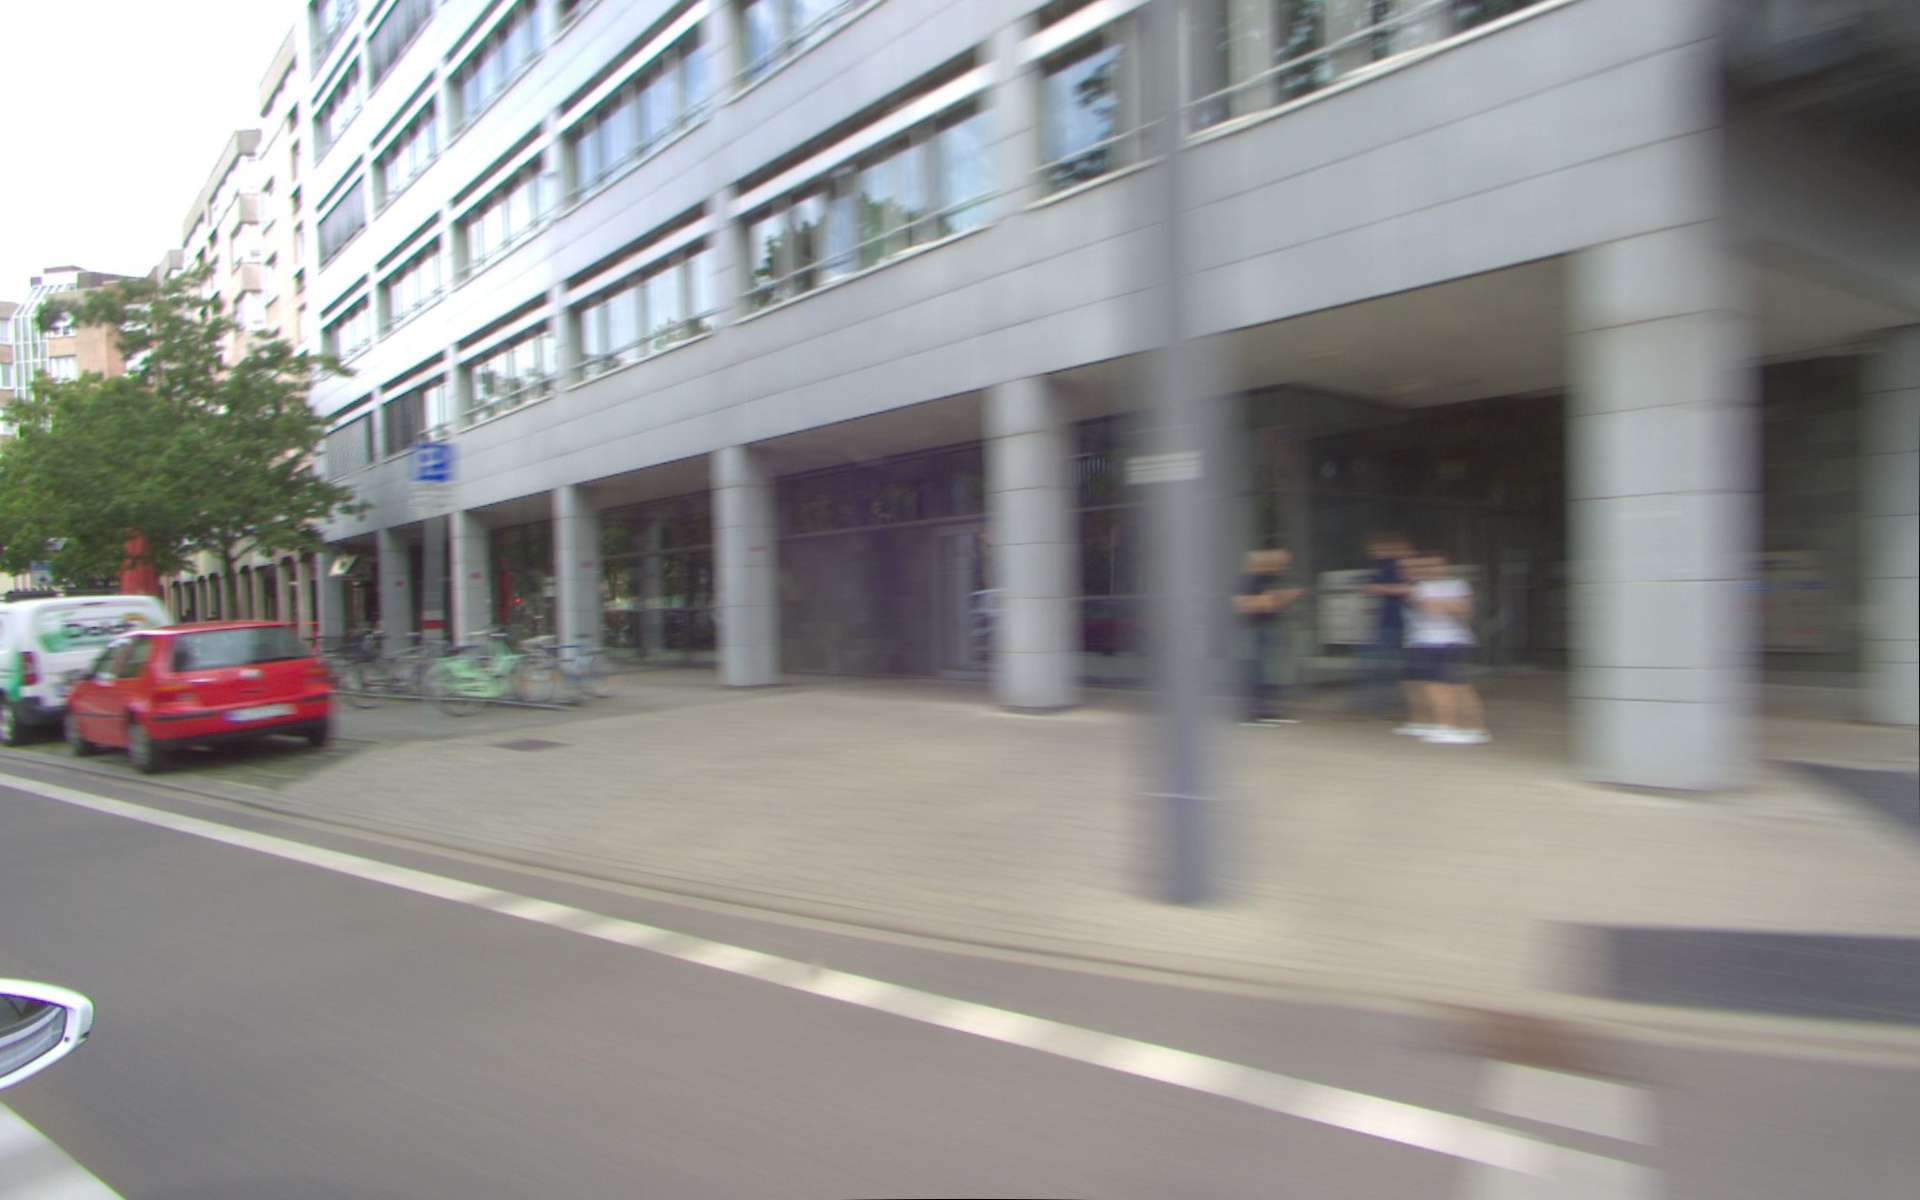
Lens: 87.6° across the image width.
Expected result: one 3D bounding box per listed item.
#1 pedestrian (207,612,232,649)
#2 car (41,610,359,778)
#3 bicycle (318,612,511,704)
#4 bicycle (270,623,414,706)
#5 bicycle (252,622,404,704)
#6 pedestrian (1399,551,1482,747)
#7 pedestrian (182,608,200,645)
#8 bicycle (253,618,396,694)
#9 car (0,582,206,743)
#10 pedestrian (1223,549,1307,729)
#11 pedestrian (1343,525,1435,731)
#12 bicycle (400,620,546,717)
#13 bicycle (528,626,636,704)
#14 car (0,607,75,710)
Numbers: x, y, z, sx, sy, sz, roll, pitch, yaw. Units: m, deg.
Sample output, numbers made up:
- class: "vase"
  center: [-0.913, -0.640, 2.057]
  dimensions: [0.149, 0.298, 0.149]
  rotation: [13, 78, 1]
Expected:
- class: "pedestrian"
  center: [-31.952, 1.303, 43.206]
  dimensions: [0.705, 1.576, 0.791]
  rotation: [-2, 2, -44]
- class: "car"
  center: [-8.611, 0.902, 11.227]
  dimensions: [4.199, 1.452, 1.715]
  rotation: [-1, 3, 37]
- class: "bicycle"
  center: [-8.396, 0.848, 15.571]
  dimensions: [0.646, 1.275, 2.626]
  rotation: [0, 0, 33]
- class: "bicycle"
  center: [-9.945, 1.004, 16.176]
  dimensions: [0.474, 1.213, 1.899]
  rotation: [0, 1, 40]
- class: "bicycle"
  center: [-10.362, 1.004, 16.500]
  dimensions: [0.474, 1.213, 2.045]
  rotation: [0, 1, 40]
- class: "pedestrian"
  center: [4.404, 0.433, 9.208]
  dimensions: [0.545, 1.750, 0.495]
  rotation: [0, 2, 8]
- class: "pedestrian"
  center: [-32.705, 1.120, 42.586]
  dimensions: [0.508, 1.576, 0.468]
  rotation: [-2, 2, -44]
- class: "bicycle"
  center: [-11.080, 0.944, 17.542]
  dimensions: [0.474, 1.213, 2.045]
  rotation: [0, 1, 40]
- class: "car"
  center: [-12.660, 0.766, 13.915]
  dimensions: [4.579, 1.890, 1.823]
  rotation: [-1, 2, 31]
- class: "pedestrian"
  center: [3.095, 0.377, 10.158]
  dimensions: [0.636, 1.750, 0.542]
  rotation: [2, 3, 44]
- class: "pedestrian"
  center: [4.421, 0.263, 10.327]
  dimensions: [0.666, 2.042, 0.599]
  rotation: [3, 4, 39]
- class: "bicycle"
  center: [-6.568, 0.884, 13.609]
  dimensions: [0.485, 1.154, 1.847]
  rotation: [-1, 1, 26]
- class: "bicycle"
  center: [-5.483, 0.915, 14.596]
  dimensions: [0.416, 1.000, 1.556]
  rotation: [0, 2, 29]
- class: "car"
  center: [-17.763, 1.019, 17.436]
  dimensions: [4.512, 1.625, 1.991]
  rotation: [-1, 3, 28]
